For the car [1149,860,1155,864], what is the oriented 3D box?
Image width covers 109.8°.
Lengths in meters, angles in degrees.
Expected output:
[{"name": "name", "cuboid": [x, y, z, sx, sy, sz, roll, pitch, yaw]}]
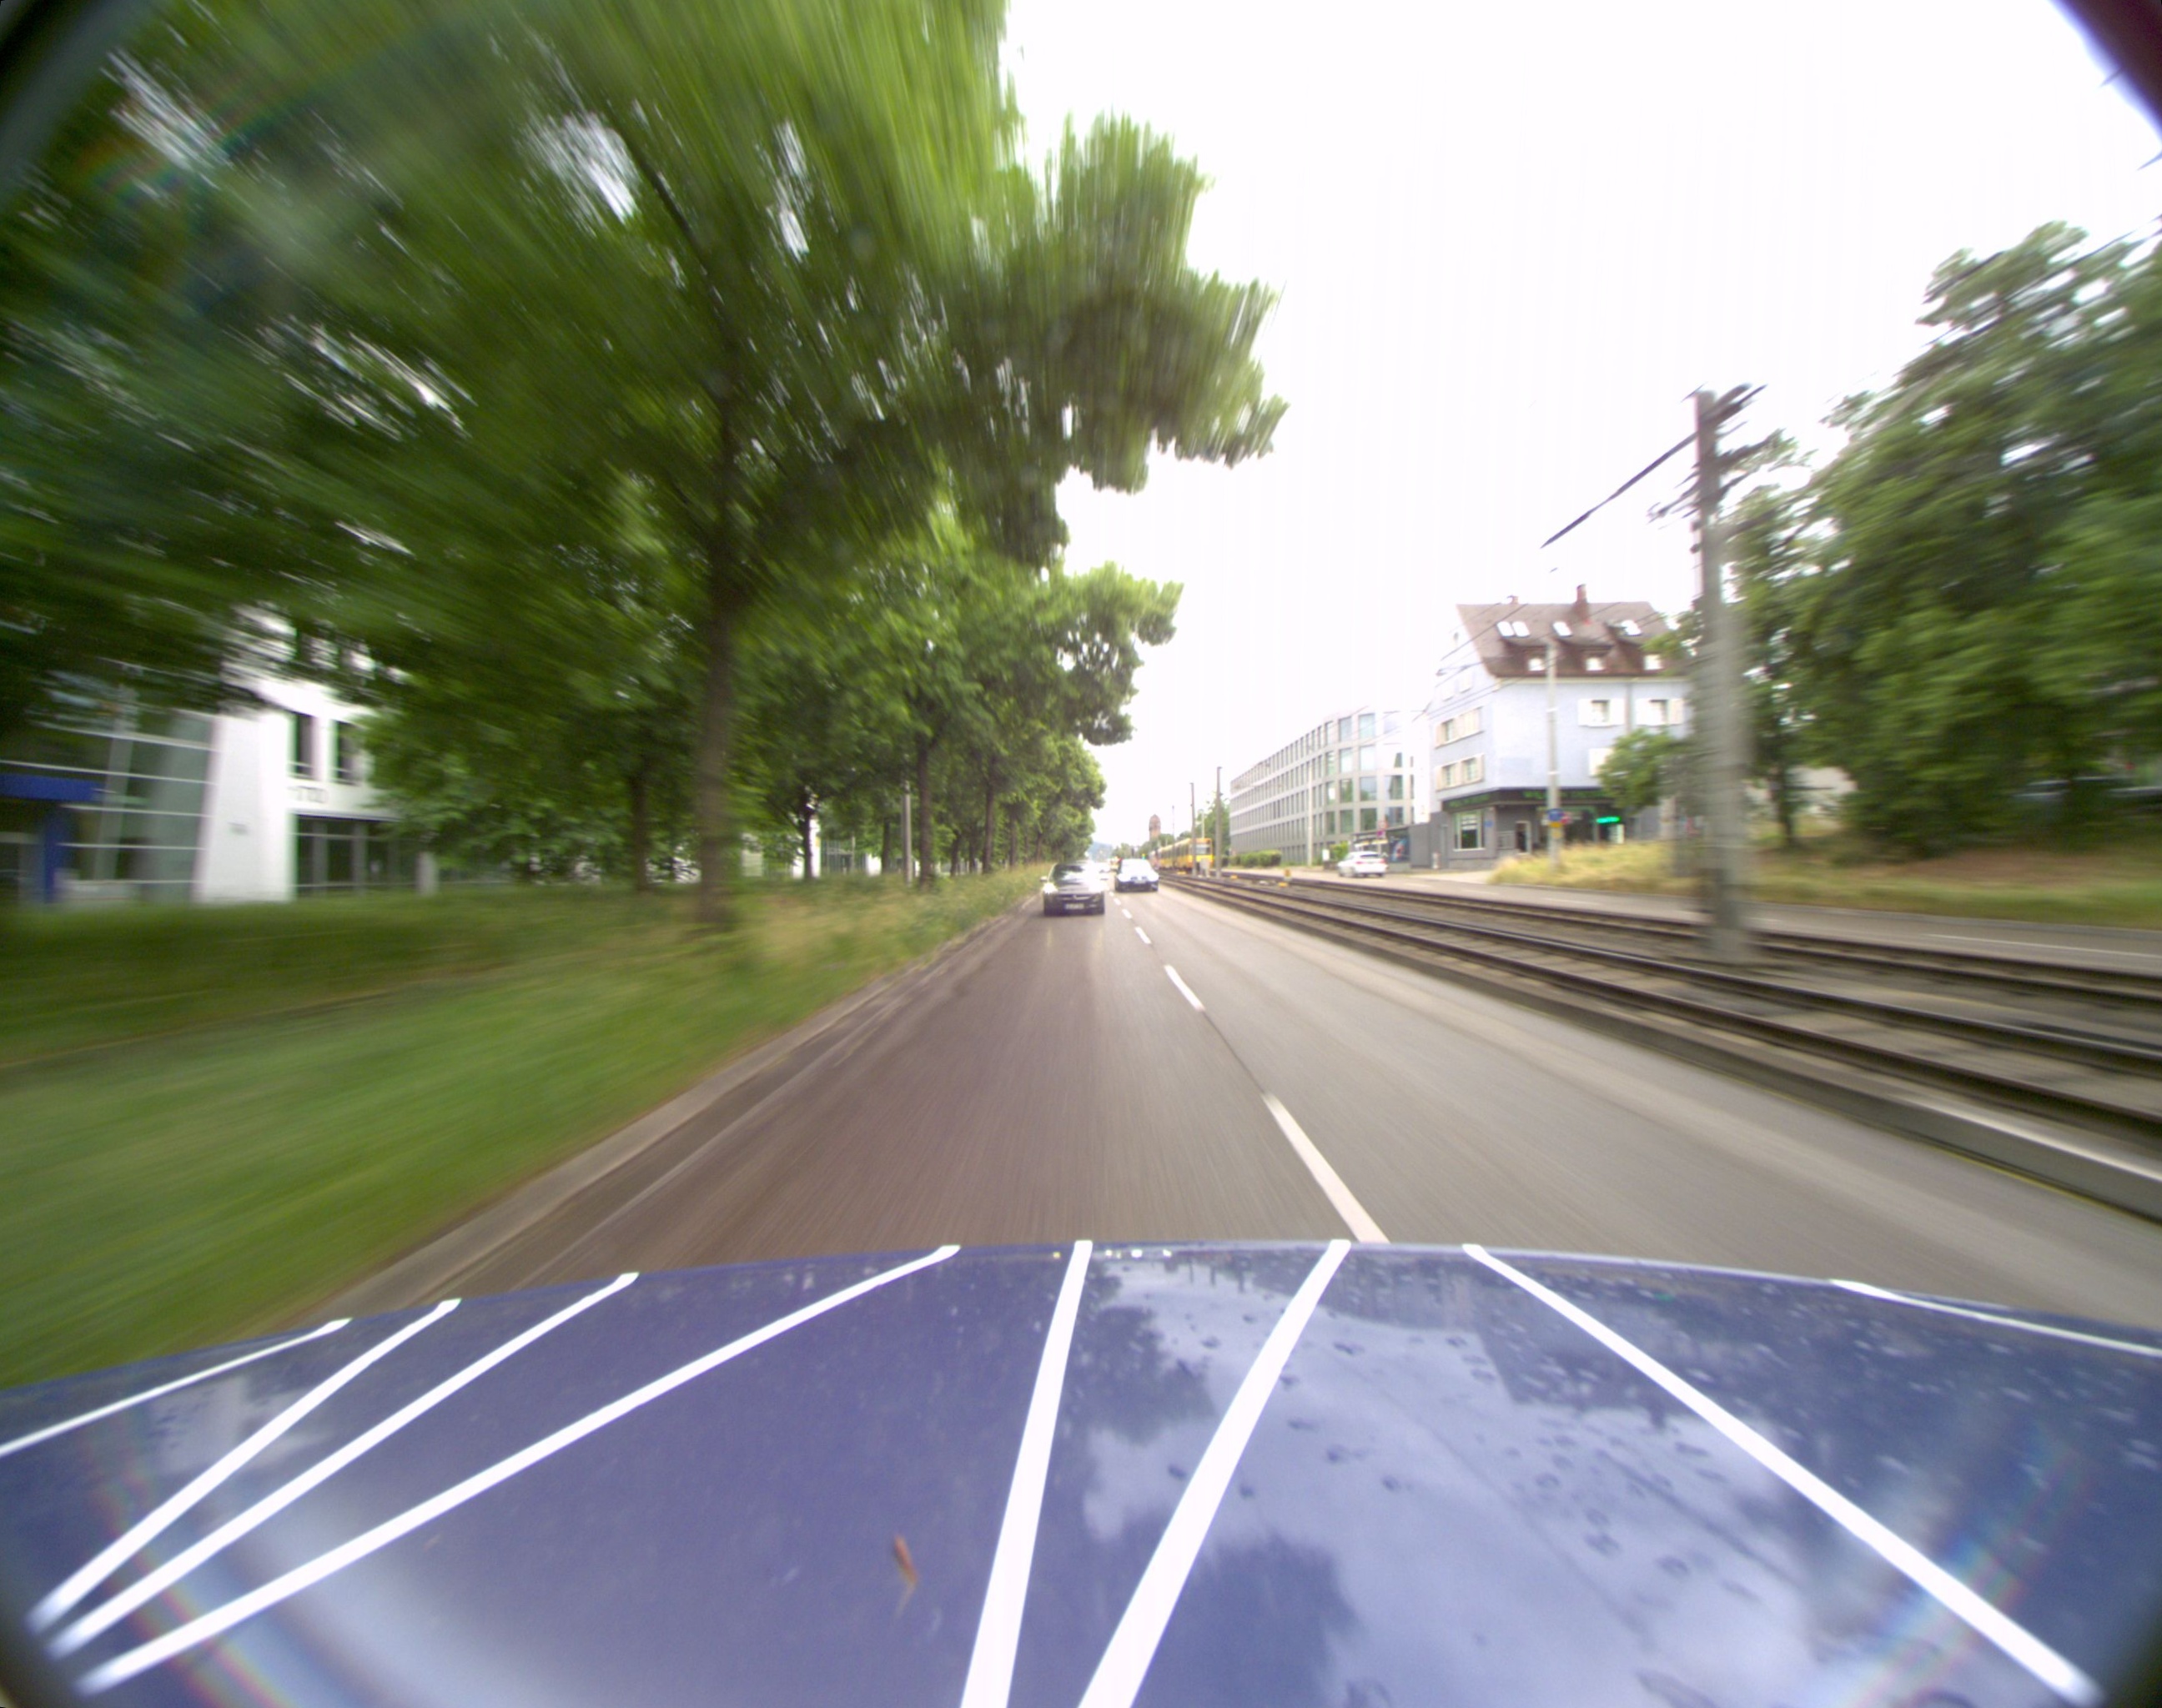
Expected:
[{"name": "car", "cuboid": [24.205, 2.732, 258.675, 1.812, 1.627, 3.564, -2, -1, 1]}]

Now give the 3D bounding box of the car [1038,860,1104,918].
[{"name": "car", "cuboid": [-0.204, 0.949, 22.433, 1.698, 1.439, 4.420, -3, 0, 2]}]

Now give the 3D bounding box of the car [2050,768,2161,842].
[{"name": "car", "cuboid": [31.101, -1.401, 21.822, 1.963, 2.002, 4.222, -1, 0, 17]}]

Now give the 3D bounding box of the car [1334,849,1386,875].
[{"name": "car", "cuboid": [17.331, 0.499, 47.383, 1.657, 1.520, 4.380, -1, 0, 1]}]

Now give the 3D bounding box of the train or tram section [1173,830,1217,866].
[{"name": "train or tram section", "cuboid": [13.196, -0.558, 89.957, 2.974, 3.788, 19.523, -1, 0, 2]}]

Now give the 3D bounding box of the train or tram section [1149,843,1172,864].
[{"name": "train or tram section", "cuboid": [15.227, -0.024, 146.603, 2.974, 3.788, 18.618, -1, 0, 2]}]

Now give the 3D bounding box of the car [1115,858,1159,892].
[{"name": "car", "cuboid": [2.538, 0.913, 35.017, 1.770, 1.439, 3.833, -1, 0, 1]}]

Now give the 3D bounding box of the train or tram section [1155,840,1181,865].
[{"name": "train or tram section", "cuboid": [14.507, -0.151, 128.017, 2.974, 3.788, 18.618, -1, 0, 2]}]
